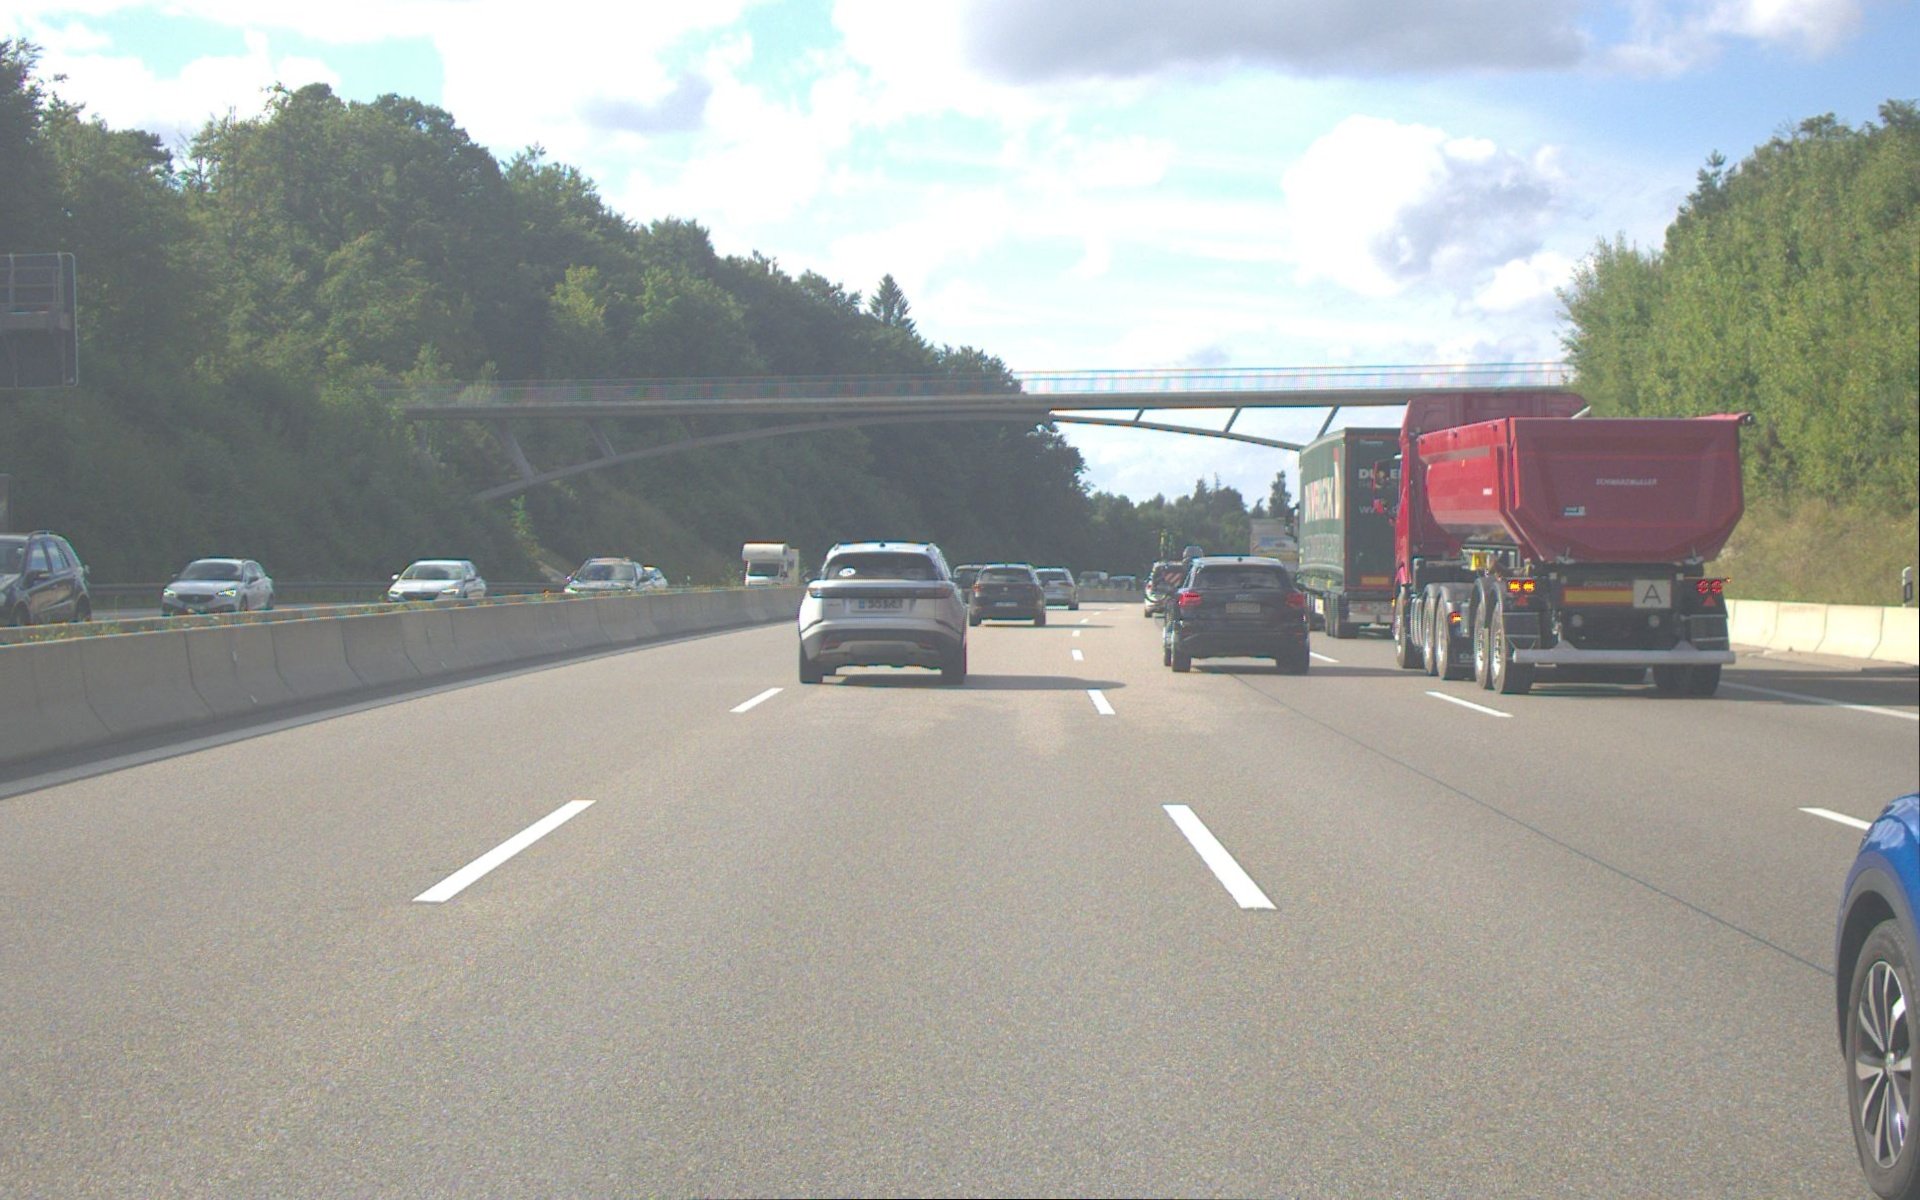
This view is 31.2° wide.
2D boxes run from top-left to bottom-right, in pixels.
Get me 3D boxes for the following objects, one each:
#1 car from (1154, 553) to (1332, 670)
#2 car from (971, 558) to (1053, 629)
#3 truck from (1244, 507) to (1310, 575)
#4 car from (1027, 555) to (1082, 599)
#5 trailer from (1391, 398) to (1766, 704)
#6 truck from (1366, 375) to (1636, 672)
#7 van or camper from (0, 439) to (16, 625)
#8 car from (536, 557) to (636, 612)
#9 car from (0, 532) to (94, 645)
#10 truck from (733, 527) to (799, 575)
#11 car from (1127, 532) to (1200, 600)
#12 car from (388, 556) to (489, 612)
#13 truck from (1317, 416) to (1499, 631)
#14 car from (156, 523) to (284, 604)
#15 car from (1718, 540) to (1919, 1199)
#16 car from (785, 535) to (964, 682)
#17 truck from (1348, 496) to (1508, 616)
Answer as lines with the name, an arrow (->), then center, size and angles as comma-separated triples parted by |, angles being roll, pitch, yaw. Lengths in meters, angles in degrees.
car -> 3.708, 0.118, 45.632 | 1.822, 1.452, 4.001 | 0, 1, -3
car -> 1.241, -0.175, 80.590 | 1.822, 1.541, 4.000 | 1, 1, 2
truck -> 14.075, -2.604, 152.484 | 2.845, 2.915, 8.384 | 1, 1, 6
car -> 3.299, -0.817, 119.409 | 1.822, 1.452, 4.000 | 1, 1, 2
trailer -> 7.149, -0.600, 41.247 | 2.710, 3.220, 9.733 | 0, 1, 0
truck -> 7.152, -1.012, 46.172 | 2.710, 3.706, 5.817 | 0, 1, 0
van or camper -> -17.353, -1.097, 54.845 | 2.559, 3.115, 7.334 | 0, 1, 0
car -> -9.337, -0.402, 86.095 | 1.845, 1.292, 4.258 | 1, 1, 3
car -> -13.921, -0.198, 49.075 | 1.922, 1.534, 4.702 | 0, 1, 0
truck -> -11.027, -2.805, 196.233 | 2.866, 2.670, 7.007 | 1, 1, 4
car -> 5.682, -0.960, 96.297 | 1.894, 1.850, 4.100 | 1, 1, 2
car -> -12.829, -0.413, 84.763 | 1.845, 1.292, 4.259 | 0, 1, 0
truck -> 8.766, -1.500, 68.346 | 3.119, 3.921, 10.409 | 1, 1, 5
car -> -16.586, -0.832, 77.211 | 1.845, 1.738, 4.259 | 1, 1, 2
car -> 2.862, 0.648, 6.608 | 1.773, 1.525, 4.458 | -1, 1, 0
car -> -0.966, 0.045, 41.464 | 2.006, 1.610, 5.301 | 1, 1, 0
truck -> 11.169, -1.066, 82.680 | 2.711, 2.730, 8.054 | 0, 1, 0
